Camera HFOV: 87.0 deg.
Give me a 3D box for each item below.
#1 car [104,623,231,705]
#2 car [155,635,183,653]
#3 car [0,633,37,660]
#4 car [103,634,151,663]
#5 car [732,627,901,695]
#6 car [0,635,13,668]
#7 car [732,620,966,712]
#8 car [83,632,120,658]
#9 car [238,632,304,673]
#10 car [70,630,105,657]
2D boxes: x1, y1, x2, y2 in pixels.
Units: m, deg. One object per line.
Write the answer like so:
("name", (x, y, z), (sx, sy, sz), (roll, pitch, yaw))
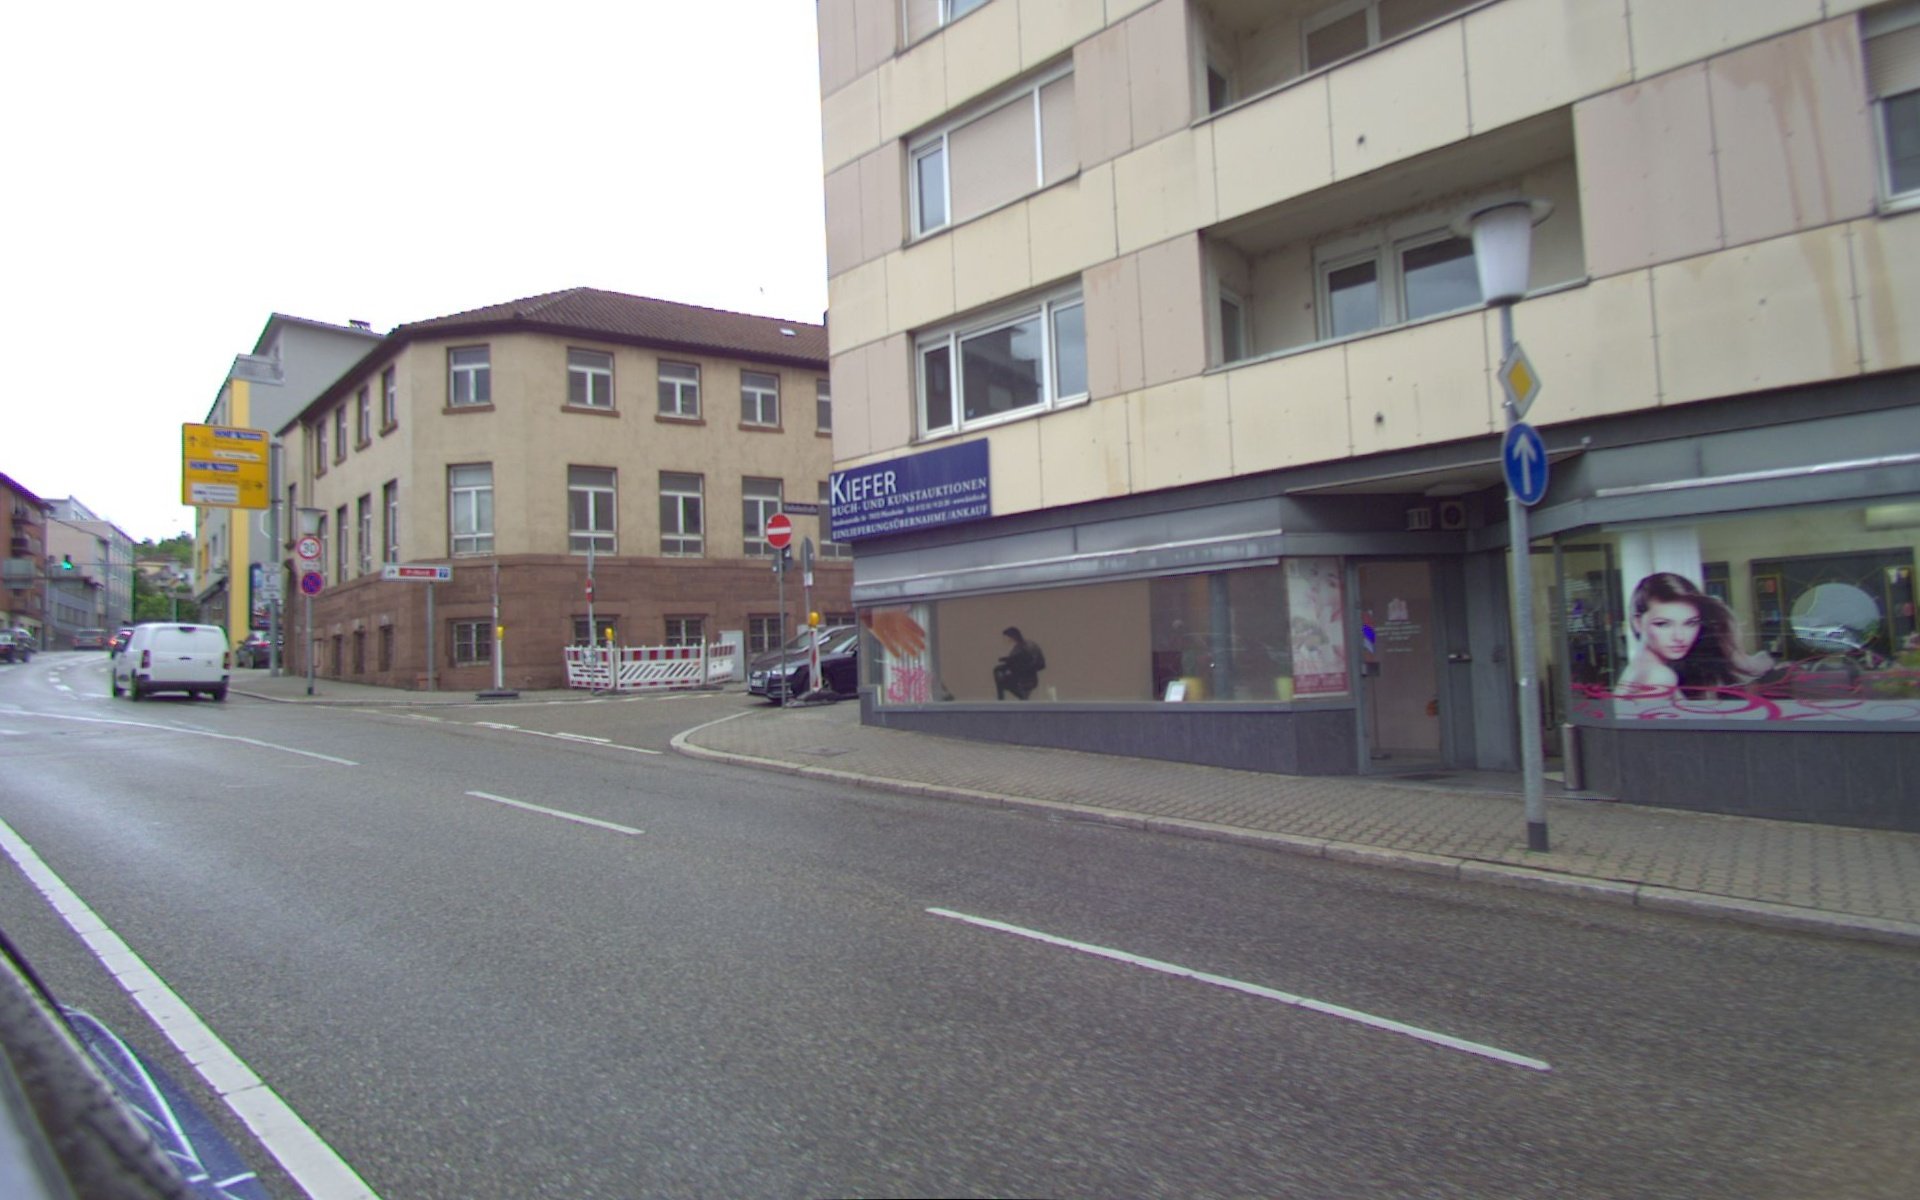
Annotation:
("car", (-19.381, 1.504, 24.695), (4.267, 1.817, 1.840), (-2, -3, 44))
("car", (-66.549, 3.699, 85.138), (1.834, 1.465, 4.326), (2, -3, -39))
("car", (-53.372, 2.594, 56.942), (1.834, 1.465, 4.326), (2, -3, -39))
("car", (-45.827, 2.675, 55.643), (1.835, 1.465, 4.324), (5, -5, -41))
("car", (-3.545, 1.508, 25.243), (3.750, 1.478, 1.758), (-1, -4, -36))
("car", (-44.473, 2.332, 46.037), (1.834, 1.465, 4.324), (2, -3, -41))
("car", (-2.115, 1.221, 19.961), (4.295, 1.515, 1.757), (-1, -1, -39))
("car", (-57.690, 2.989, 67.989), (1.835, 1.711, 4.324), (2, -3, -41))
("car", (-27.960, 2.090, 41.011), (1.834, 1.465, 3.970), (-3, 0, -39))
("car", (-63.547, 3.126, 73.786), (1.820, 1.918, 3.771), (1, -2, -40))
